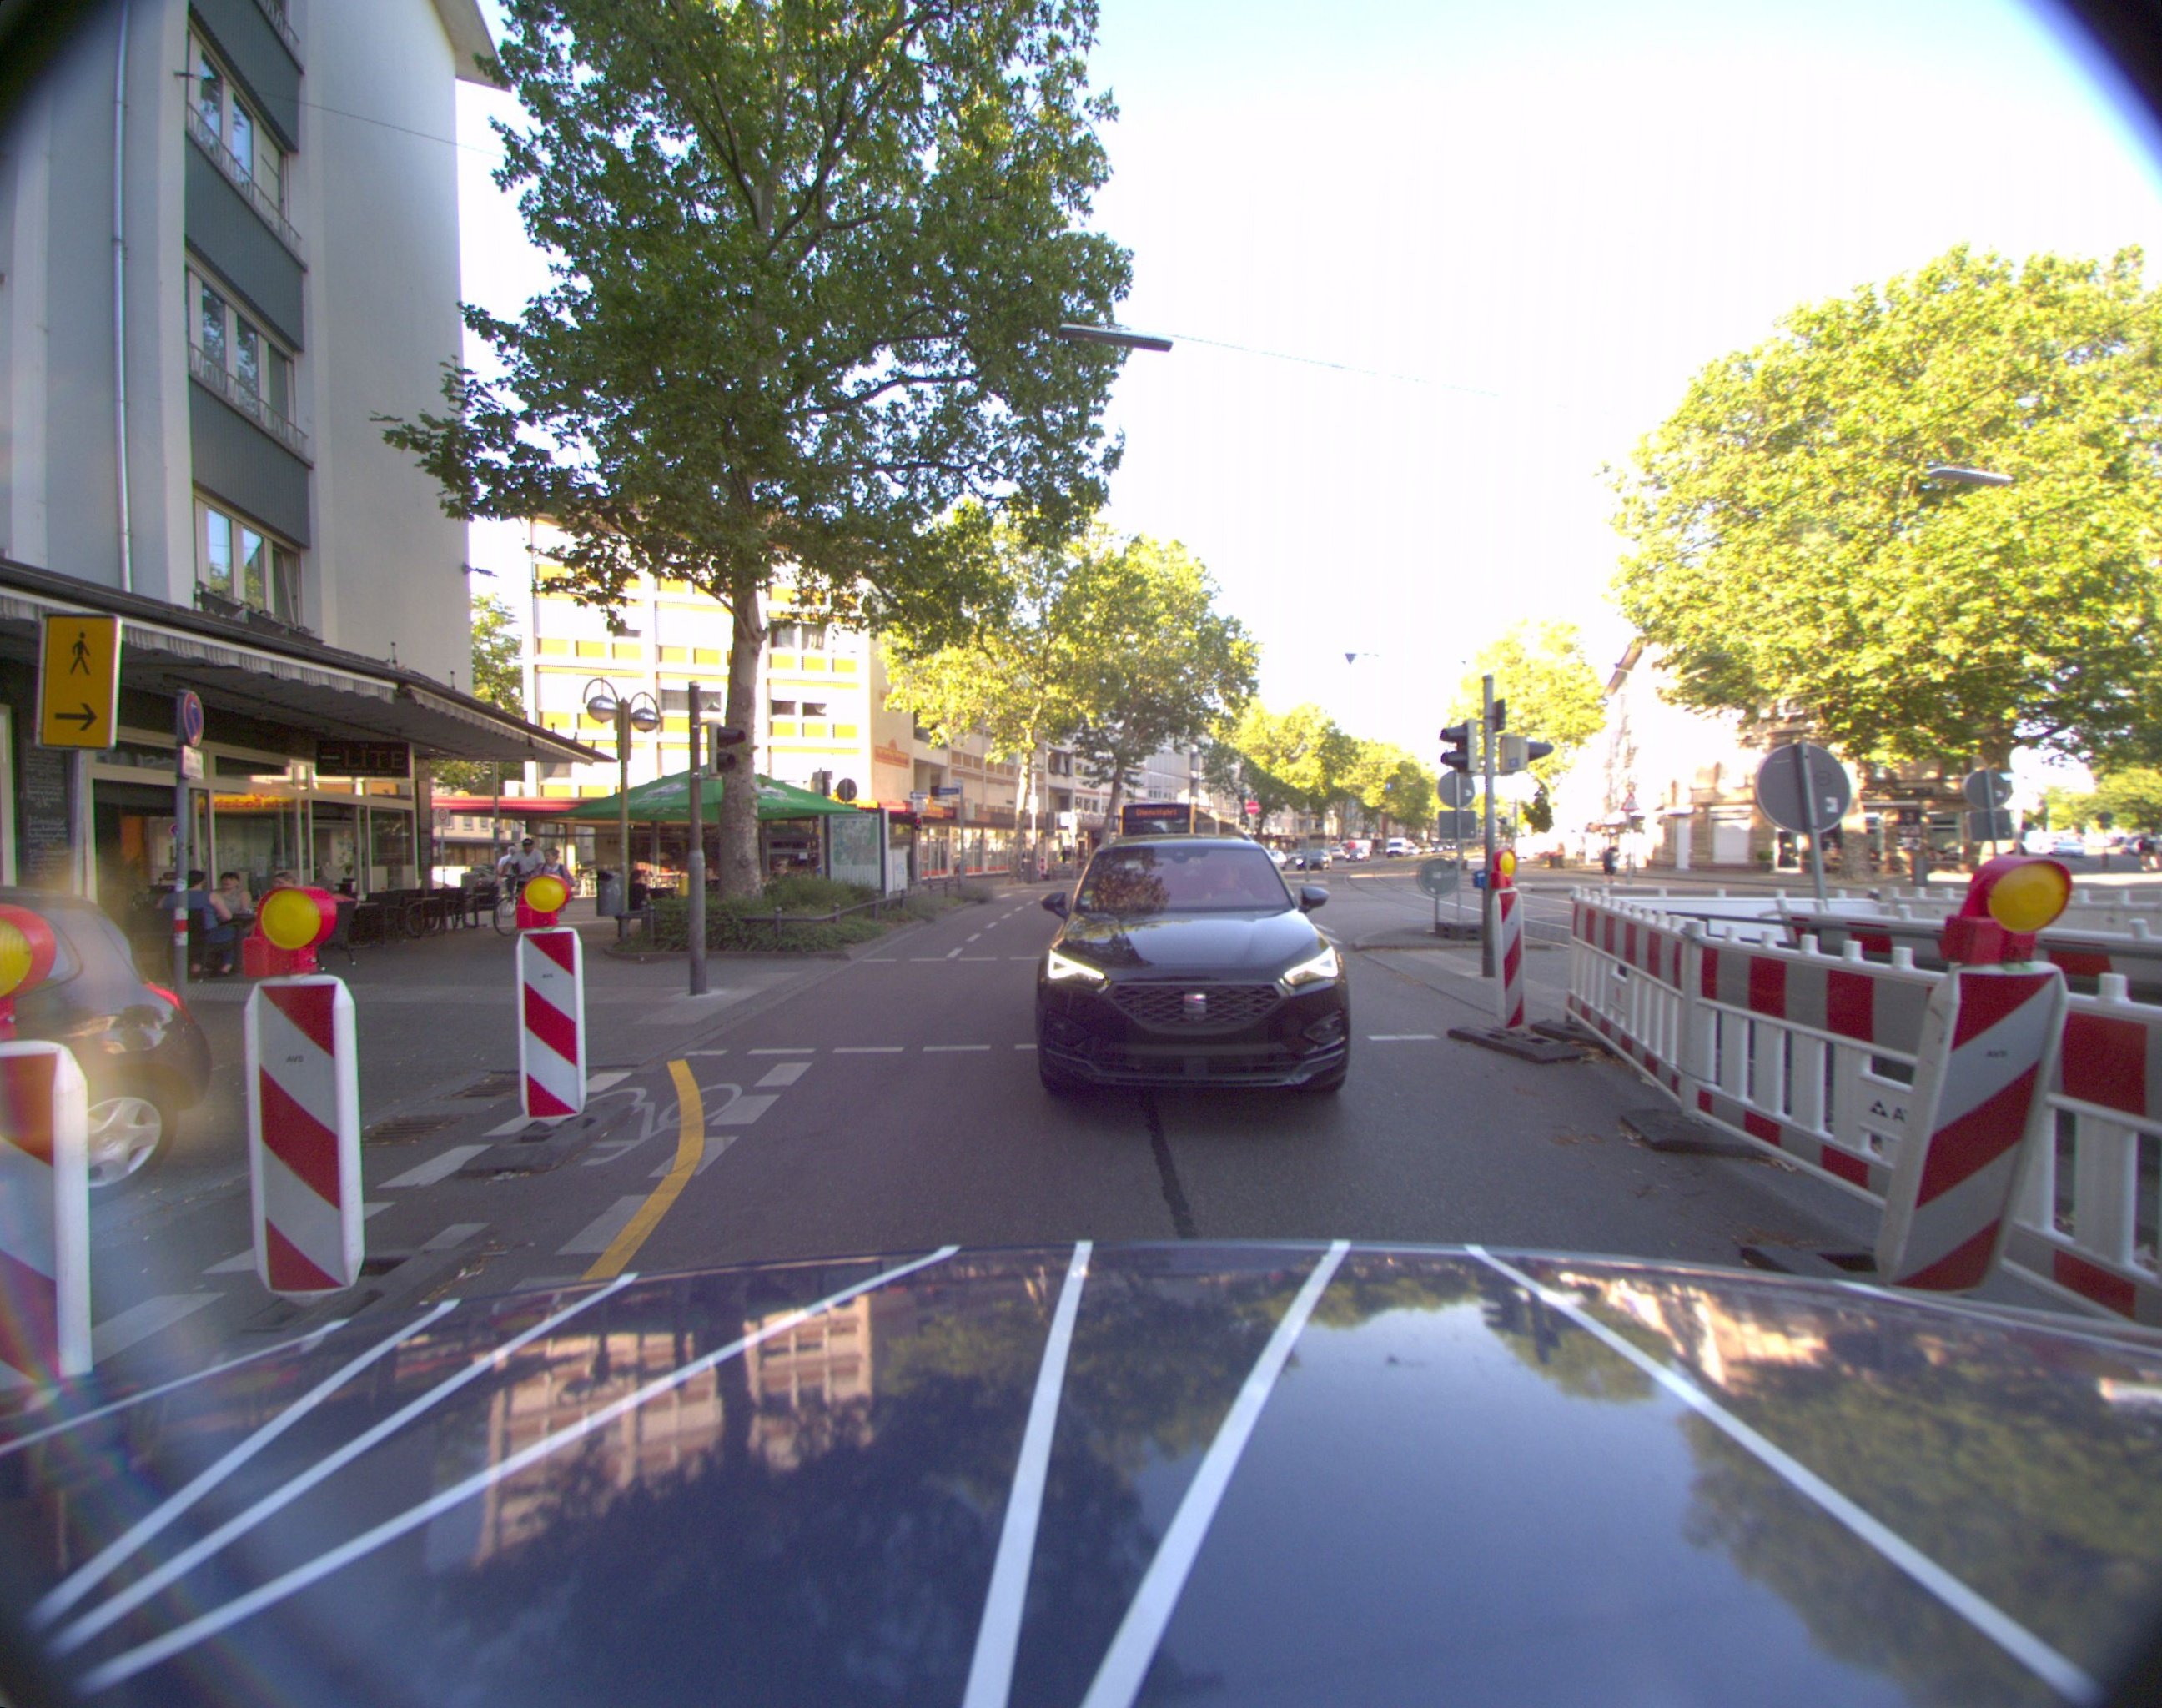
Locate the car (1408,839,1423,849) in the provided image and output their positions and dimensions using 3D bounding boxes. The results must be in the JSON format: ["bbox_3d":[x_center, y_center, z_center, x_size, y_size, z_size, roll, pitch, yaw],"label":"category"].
[{"bbox_3d":[51.348,-1.516,116.506,1.700,1.462,3.771,0,1,31],"label":"car"}]

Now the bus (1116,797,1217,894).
[{"bbox_3d":[3.484,-0.313,28.682,2.718,3.088,8.629,0,1,13],"label":"bus"}]

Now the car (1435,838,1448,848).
[{"bbox_3d":[72.481,-2.198,152.736,1.836,1.792,4.138,0,1,31],"label":"car"}]

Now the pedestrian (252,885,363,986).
[{"bbox_3d":[-9.879,1.008,9.709,0.877,1.186,0.701,0,1,24],"label":"pedestrian"}]

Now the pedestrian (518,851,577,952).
[{"bbox_3d":[-8.873,0.766,12.654,0.629,1.628,0.531,-1,1,-15],"label":"pedestrian"}]

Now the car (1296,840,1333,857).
[{"bbox_3d":[28.512,-0.723,92.932,3.994,2.002,2.001,-1,1,8],"label":"car"}]

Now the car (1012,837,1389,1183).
[{"bbox_3d":[0.618,0.750,5.730,1.841,1.696,4.000,-1,1,1],"label":"car"}]

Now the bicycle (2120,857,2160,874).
[{"bbox_3d":[50.732,0.538,36.387,1.993,0.777,0.680,-1,1,-23],"label":"bicycle"}]

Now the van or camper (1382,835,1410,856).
[{"bbox_3d":[42.451,-1.196,102.233,2.420,2.702,6.144,0,1,32],"label":"van or camper"}]

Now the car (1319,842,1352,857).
[{"bbox_3d":[34.702,-0.655,103.631,3.994,2.002,2.001,-1,1,8],"label":"car"}]

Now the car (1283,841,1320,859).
[{"bbox_3d":[24.757,-0.420,85.320,3.991,2.002,2.003,0,1,18],"label":"car"}]

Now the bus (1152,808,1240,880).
[{"bbox_3d":[5.844,-0.460,37.103,2.717,3.088,8.608,0,1,19],"label":"bus"}]

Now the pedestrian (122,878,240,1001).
[{"bbox_3d":[-10.381,0.951,8.770,0.789,1.299,0.701,0,1,28],"label":"pedestrian"}]

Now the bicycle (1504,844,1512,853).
[{"bbox_3d":[58.557,-0.811,104.293,0.850,1.186,2.470,0,1,26],"label":"bicycle"}]

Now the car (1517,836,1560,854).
[{"bbox_3d":[52.503,-1.008,87.185,4.001,2.002,1.997,-1,1,-13],"label":"car"}]

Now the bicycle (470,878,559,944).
[{"bbox_3d":[-10.505,1.021,14.170,0.752,1.123,1.884,0,-1,-18],"label":"bicycle"}]

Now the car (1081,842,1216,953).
[{"bbox_3d":[1.034,0.628,13.326,1.998,1.634,4.075,-1,1,1],"label":"car"}]

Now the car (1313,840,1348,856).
[{"bbox_3d":[32.453,-0.796,98.944,3.994,2.002,2.001,-1,1,8],"label":"car"}]

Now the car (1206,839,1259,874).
[{"bbox_3d":[9.309,0.123,46.415,1.995,2.002,4.105,0,1,29],"label":"car"}]

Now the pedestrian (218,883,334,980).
[{"bbox_3d":[-10.589,0.995,10.018,0.647,1.186,0.792,0,1,7],"label":"pedestrian"}]

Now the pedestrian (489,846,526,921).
[{"bbox_3d":[-15.283,0.755,20.260,0.650,1.948,0.887,-1,1,-30],"label":"pedestrian"}]

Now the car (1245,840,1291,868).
[{"bbox_3d":[13.673,-0.016,55.354,1.994,2.002,4.008,0,1,33],"label":"car"}]

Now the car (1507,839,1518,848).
[{"bbox_3d":[98.555,-2.333,173.553,1.994,2.002,4.007,0,1,29],"label":"car"}]

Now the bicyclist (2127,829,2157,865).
[{"bbox_3d":[50.844,-0.336,36.420,0.766,1.718,0.672,-1,1,-23],"label":"bicyclist"}]

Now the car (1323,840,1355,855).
[{"bbox_3d":[36.579,-0.911,107.927,3.994,2.002,2.001,-1,1,8],"label":"car"}]

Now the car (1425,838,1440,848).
[{"bbox_3d":[60.567,-1.888,130.981,1.836,1.792,4.138,0,1,31],"label":"car"}]

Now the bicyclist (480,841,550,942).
[{"bbox_3d":[-10.499,0.668,14.125,0.754,1.815,0.924,-1,1,-17],"label":"bicyclist"}]

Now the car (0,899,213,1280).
[{"bbox_3d":[-5.205,0.972,1.986,1.771,1.459,3.610,2,1,-2],"label":"car"}]

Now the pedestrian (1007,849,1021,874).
[{"bbox_3d":[-3.963,0.436,45.039,0.627,1.429,0.532,0,1,20],"label":"pedestrian"}]

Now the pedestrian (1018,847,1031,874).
[{"bbox_3d":[-3.336,0.396,44.797,0.627,1.577,0.532,0,1,20],"label":"pedestrian"}]

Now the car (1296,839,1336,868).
[{"bbox_3d":[16.627,-0.045,53.575,1.995,2.002,4.007,0,1,27],"label":"car"}]

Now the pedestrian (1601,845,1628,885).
[{"bbox_3d":[20.343,0.411,28.998,0.603,1.524,0.745,0,1,12],"label":"pedestrian"}]
